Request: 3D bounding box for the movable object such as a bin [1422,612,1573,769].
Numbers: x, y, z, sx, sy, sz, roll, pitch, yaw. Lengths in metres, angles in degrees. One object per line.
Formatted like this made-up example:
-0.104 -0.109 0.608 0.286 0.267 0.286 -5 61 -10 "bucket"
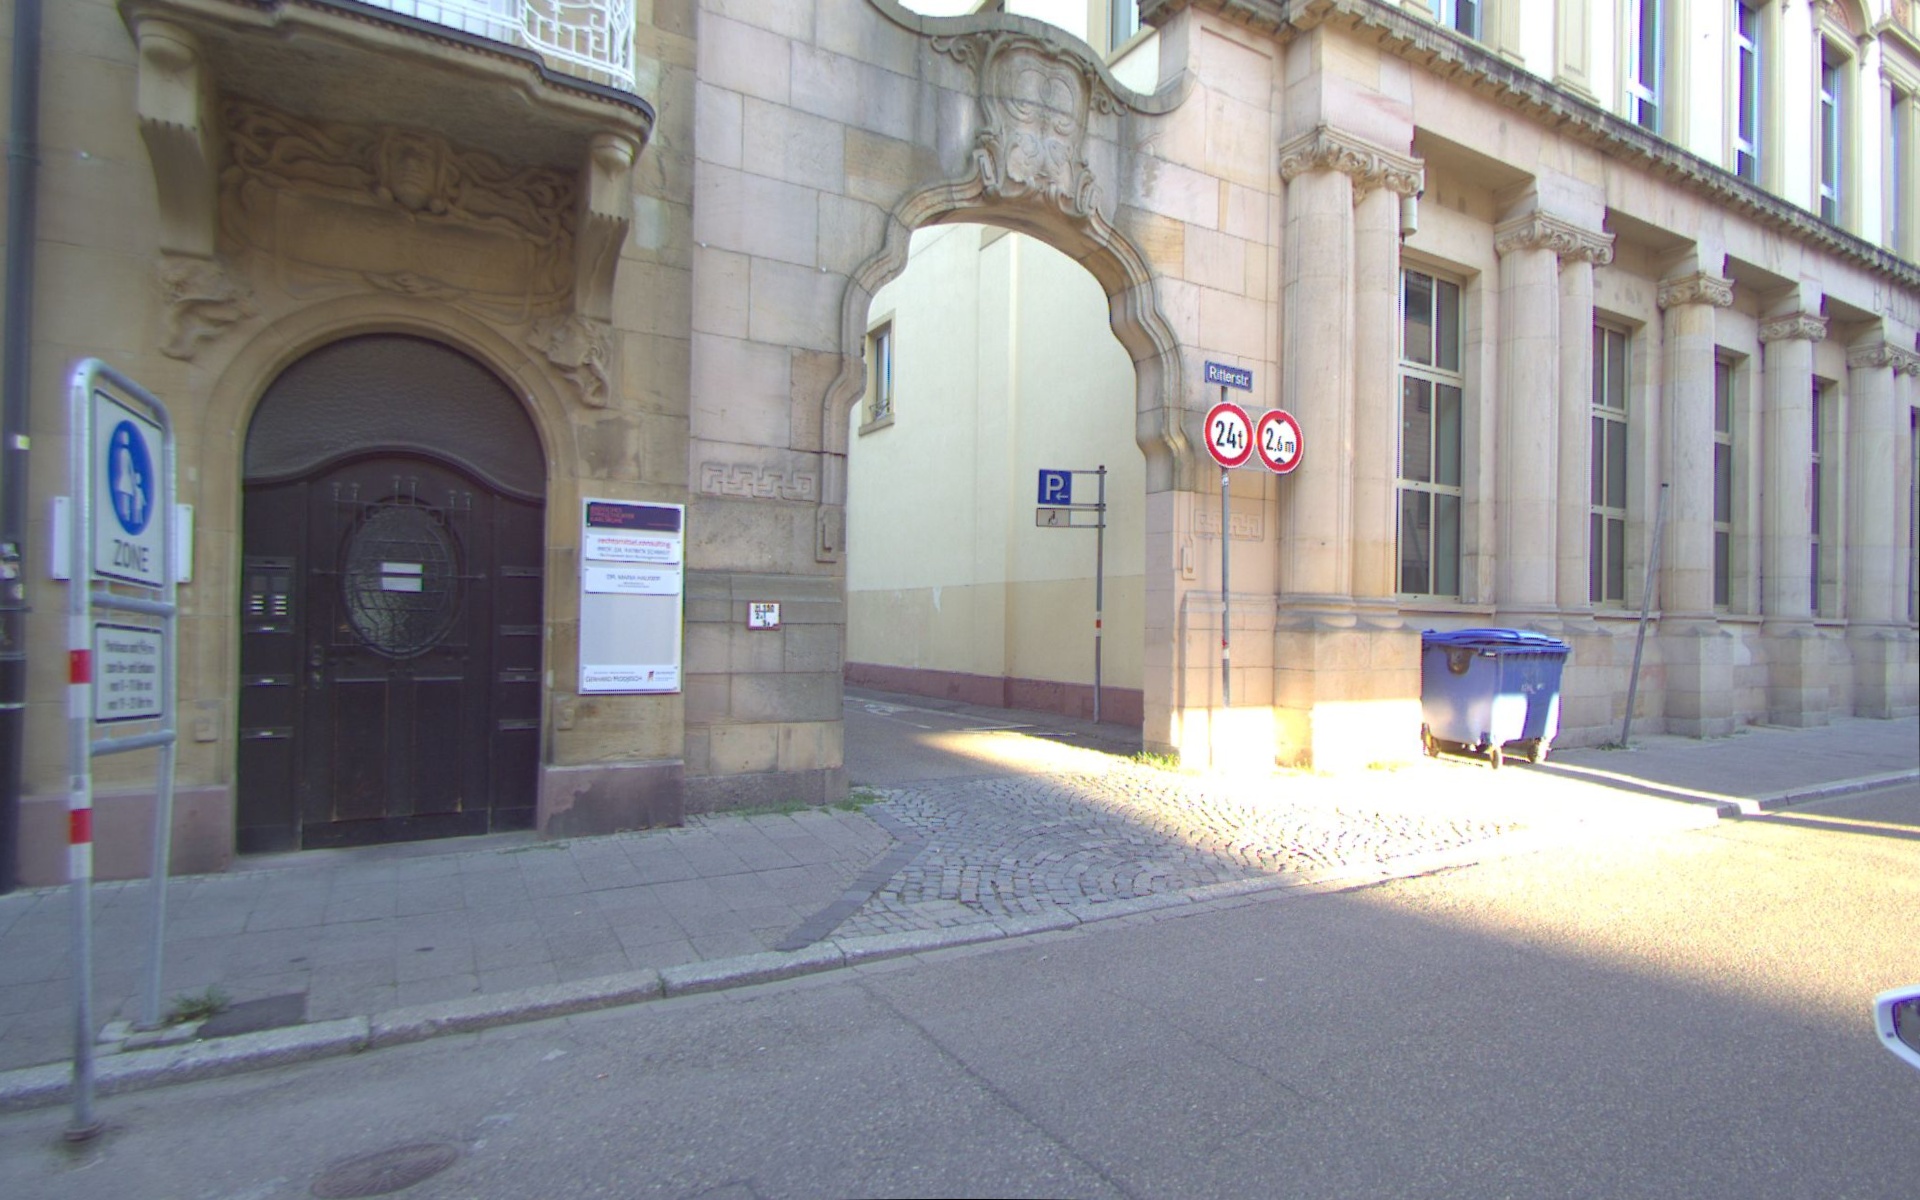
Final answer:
5.575 0.892 10.423 1.275 1.523 0.825 1 0 -29 "movable object such as a bin"
